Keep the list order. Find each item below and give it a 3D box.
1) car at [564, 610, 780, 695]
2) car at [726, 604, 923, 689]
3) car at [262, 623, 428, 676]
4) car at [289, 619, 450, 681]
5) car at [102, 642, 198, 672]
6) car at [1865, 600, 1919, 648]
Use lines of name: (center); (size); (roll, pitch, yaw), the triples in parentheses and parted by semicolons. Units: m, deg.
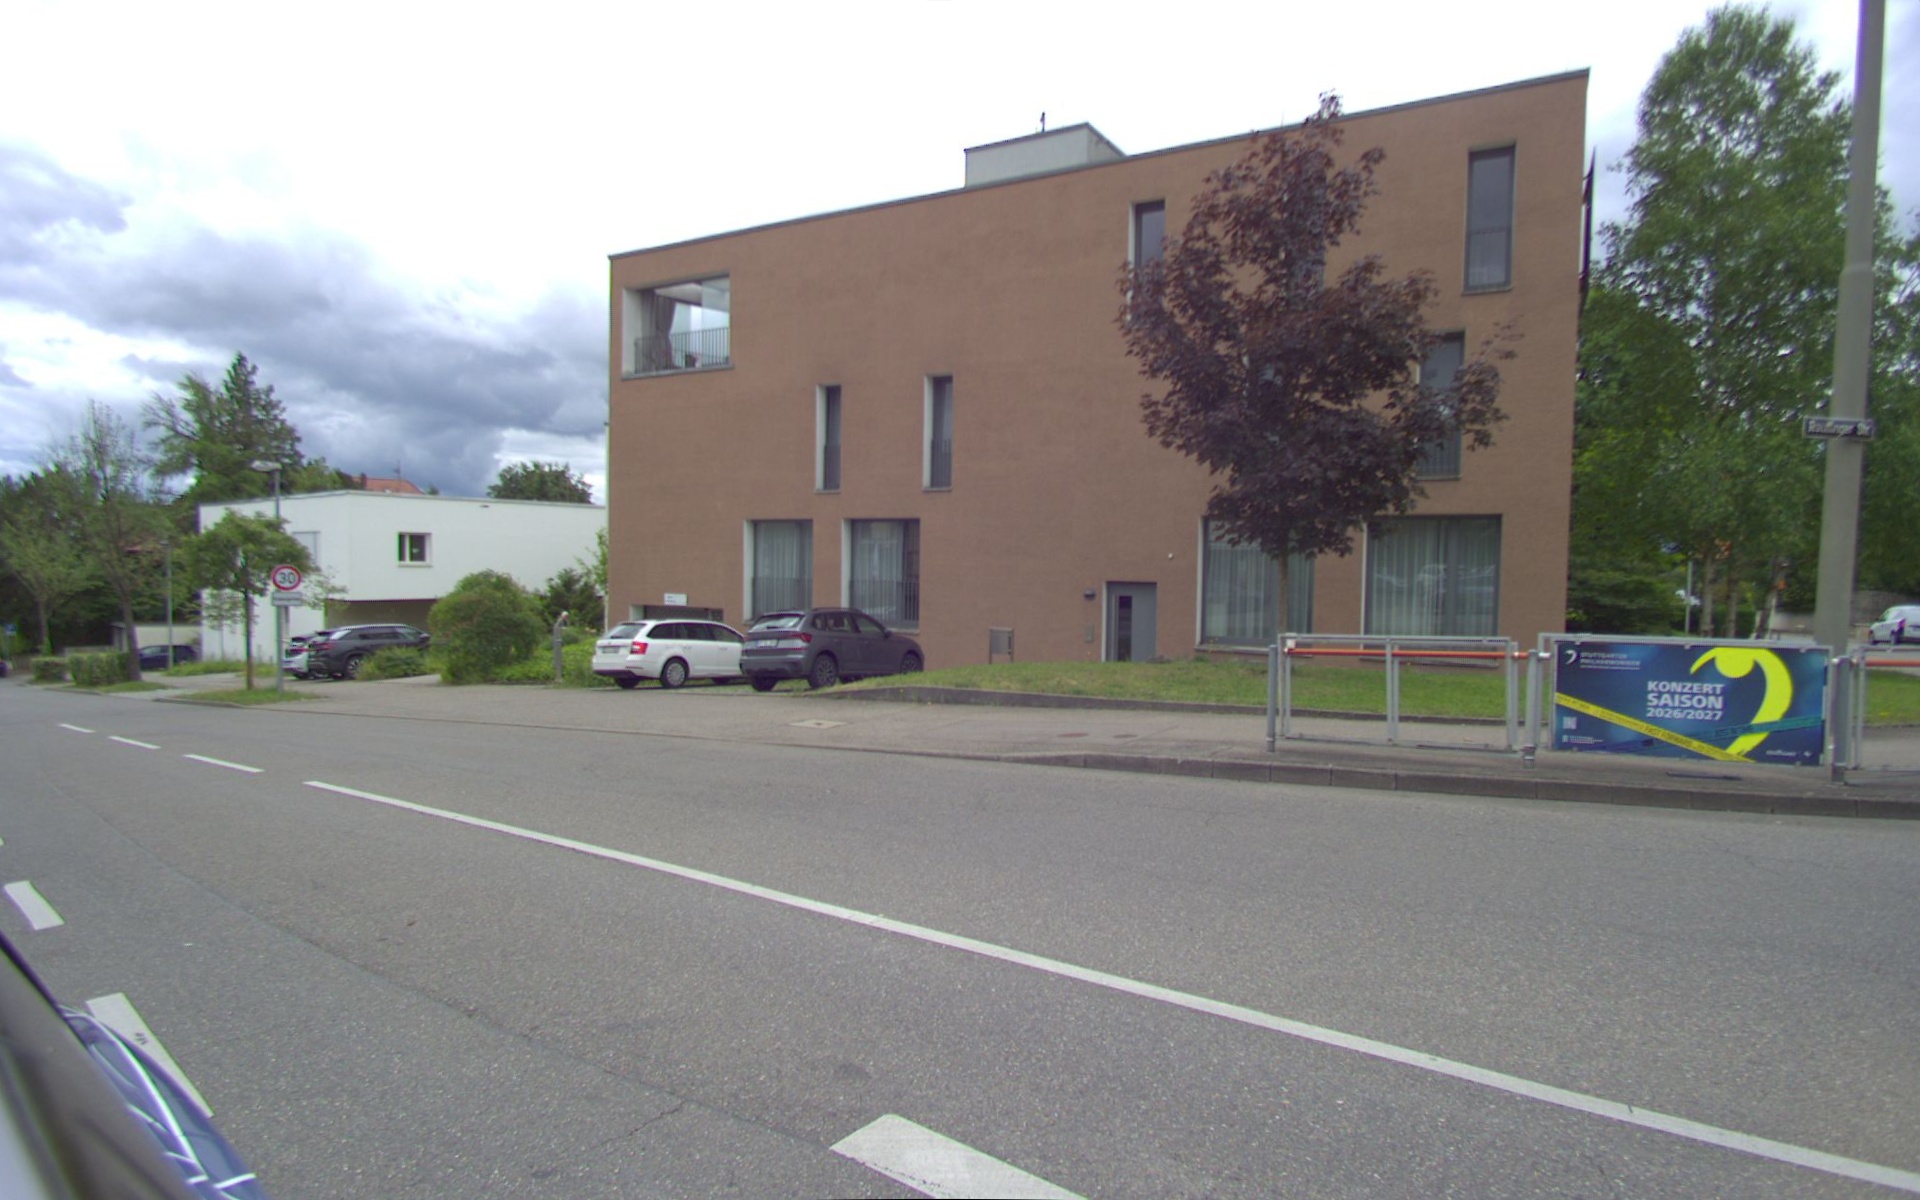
car: (-6.193, 1.064, 22.189); (2.010, 1.635, 4.221); (-1, -1, 37)
car: (-2.514, 0.864, 19.583); (1.727, 1.475, 3.728); (-4, -2, 34)
car: (-20.696, 1.643, 34.173); (2.064, 1.578, 4.344); (-3, -2, 38)
car: (-18.721, 1.544, 32.185); (2.007, 1.666, 3.946); (-3, 0, 41)
car: (-44.098, 3.084, 55.154); (1.737, 1.364, 3.763); (-3, -1, 34)
car: (41.769, 1.026, 44.239); (1.988, 1.871, 4.317); (-3, 0, 25)
